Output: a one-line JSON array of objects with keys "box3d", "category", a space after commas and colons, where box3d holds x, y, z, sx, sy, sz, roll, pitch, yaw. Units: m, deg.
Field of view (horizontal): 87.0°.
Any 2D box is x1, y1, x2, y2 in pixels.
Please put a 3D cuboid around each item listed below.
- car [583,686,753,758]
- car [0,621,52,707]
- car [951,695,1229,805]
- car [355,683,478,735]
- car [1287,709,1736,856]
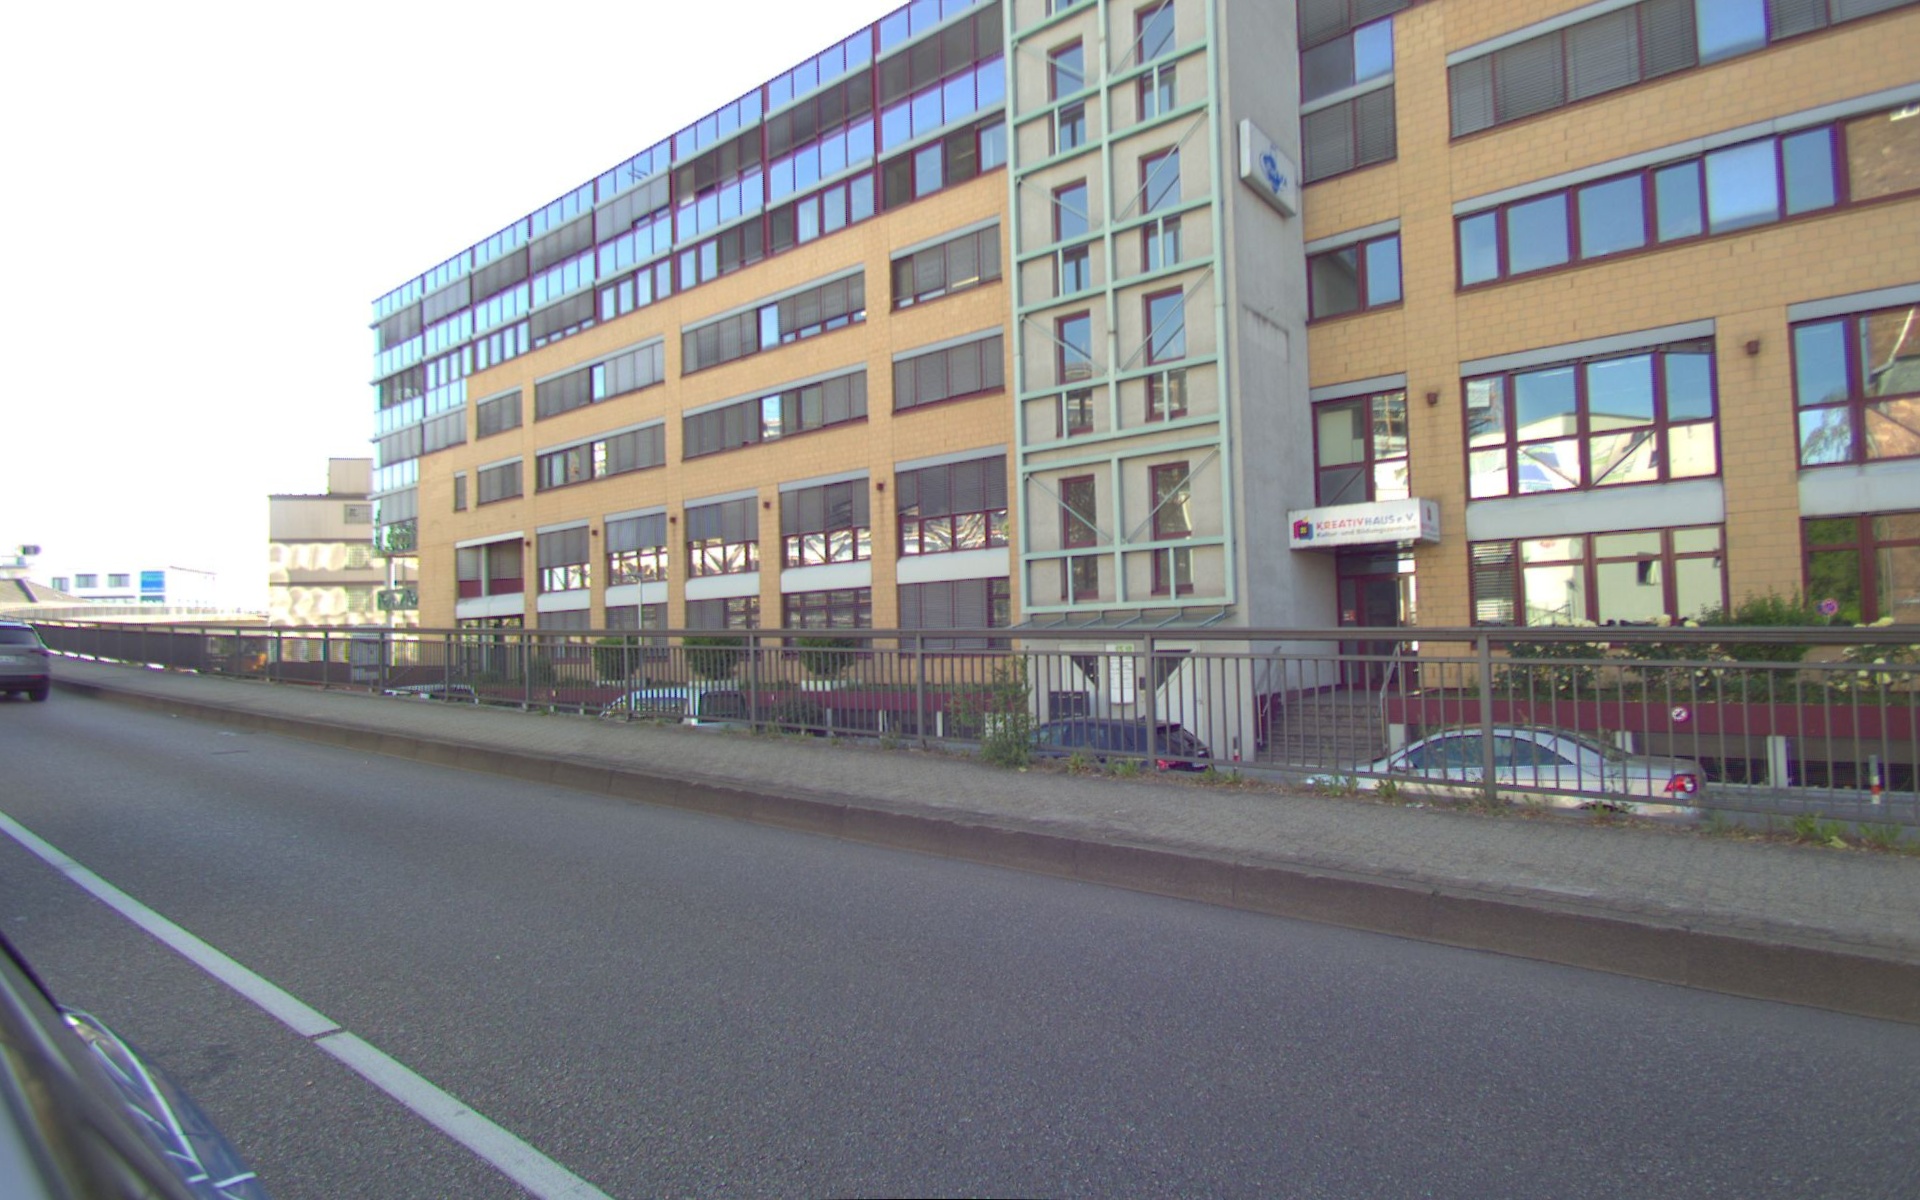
[{"box3d": [-6.214, 2.518, 21.378, 3.805, 1.279, 1.560, -3, -4, 39], "category": "car"}, {"box3d": [-19.863, 1.221, 20.280, 3.996, 1.636, 1.786, -1, -4, 39], "category": "car"}, {"box3d": [1.830, 2.109, 14.895, 3.805, 1.279, 1.560, -3, -4, 39], "category": "car"}, {"box3d": [-15.500, 3.051, 28.798, 3.805, 1.279, 1.744, -3, -4, 39], "category": "car"}, {"box3d": [6.145, 1.936, 11.564, 4.253, 1.175, 1.704, -3, -4, 39], "category": "car"}]
